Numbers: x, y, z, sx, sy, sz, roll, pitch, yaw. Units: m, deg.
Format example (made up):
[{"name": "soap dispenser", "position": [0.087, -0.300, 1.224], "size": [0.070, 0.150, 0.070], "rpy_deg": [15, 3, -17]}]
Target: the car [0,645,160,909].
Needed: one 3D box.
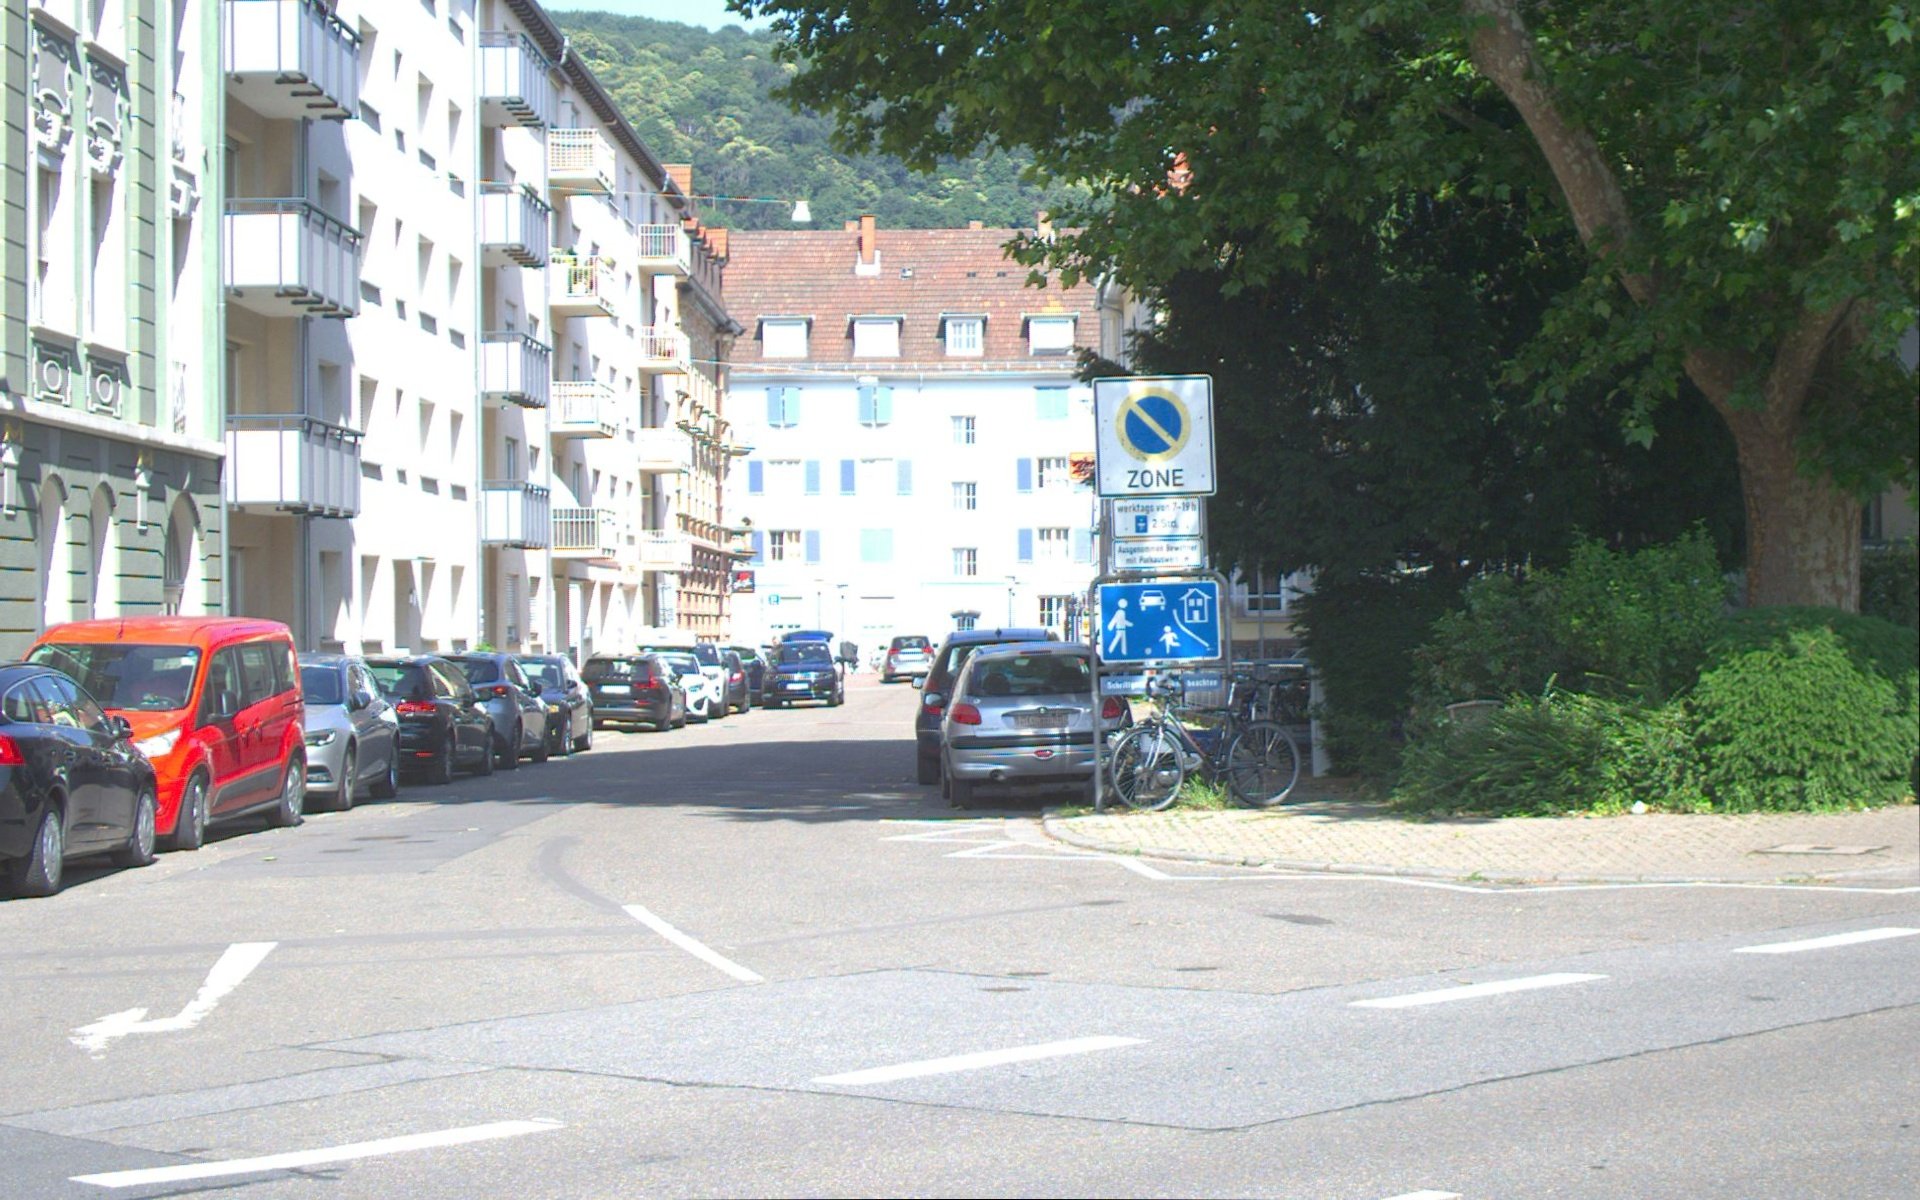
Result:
[{"name": "car", "position": [-6.670, 1.099, 22.483], "size": [1.982, 1.537, 4.063], "rpy_deg": [-1, 0, -1]}]

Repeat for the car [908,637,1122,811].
[{"name": "car", "position": [0.530, 1.073, 31.031], "size": [1.805, 1.446, 3.794], "rpy_deg": [0, 0, 2]}]

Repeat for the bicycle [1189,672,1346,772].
[{"name": "bicycle", "position": [3.196, 1.266, 35.746], "size": [1.570, 0.990, 0.457], "rpy_deg": [1, 1, 0]}]

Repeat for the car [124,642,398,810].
[{"name": "car", "position": [-6.670, 1.167, 33.216], "size": [1.863, 1.481, 4.000], "rpy_deg": [0, 0, -1]}]

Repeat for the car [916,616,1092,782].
[{"name": "car", "position": [0.506, 1.002, 36.430], "size": [1.748, 1.652, 3.779], "rpy_deg": [0, 0, 2]}]

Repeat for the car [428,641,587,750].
[{"name": "car", "position": [-6.540, 1.360, 50.075], "size": [1.863, 1.481, 4.000], "rpy_deg": [0, 0, -1]}]

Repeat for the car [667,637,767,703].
[{"name": "car", "position": [-5.674, 1.621, 80.763], "size": [1.993, 1.473, 4.000], "rpy_deg": [0, 0, 1]}]

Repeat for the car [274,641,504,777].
[{"name": "car", "position": [-6.614, 1.236, 40.196], "size": [1.863, 1.481, 3.999], "rpy_deg": [0, -1, 2]}]

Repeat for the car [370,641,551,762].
[{"name": "car", "position": [-6.503, 1.297, 45.101], "size": [1.863, 1.481, 4.000], "rpy_deg": [0, 0, -1]}]

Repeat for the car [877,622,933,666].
[{"name": "car", "position": [-1.885, 1.502, 118.402], "size": [1.748, 1.476, 3.779], "rpy_deg": [0, 0, 2]}]

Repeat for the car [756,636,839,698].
[{"name": "car", "position": [-4.000, 1.638, 84.970], "size": [1.748, 1.456, 3.779], "rpy_deg": [0, 0, 2]}]

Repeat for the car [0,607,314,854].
[{"name": "car", "position": [-6.610, 0.987, 27.770], "size": [1.866, 1.835, 4.226], "rpy_deg": [0, 0, 2]}]

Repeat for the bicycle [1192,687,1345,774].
[{"name": "bicycle", "position": [3.114, 1.313, 34.750], "size": [1.501, 0.831, 0.384], "rpy_deg": [1, 1, 0]}]

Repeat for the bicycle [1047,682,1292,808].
[{"name": "bicycle", "position": [1.697, 1.175, 28.125], "size": [1.892, 0.980, 0.973], "rpy_deg": [0, 0, -3]}]

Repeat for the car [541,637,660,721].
[{"name": "car", "position": [-6.623, 1.442, 63.660], "size": [1.863, 1.481, 3.863], "rpy_deg": [0, 0, -1]}]

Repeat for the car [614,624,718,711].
[{"name": "car", "position": [-5.995, 1.353, 70.503], "size": [1.863, 1.716, 3.863], "rpy_deg": [0, 0, -1]}]
